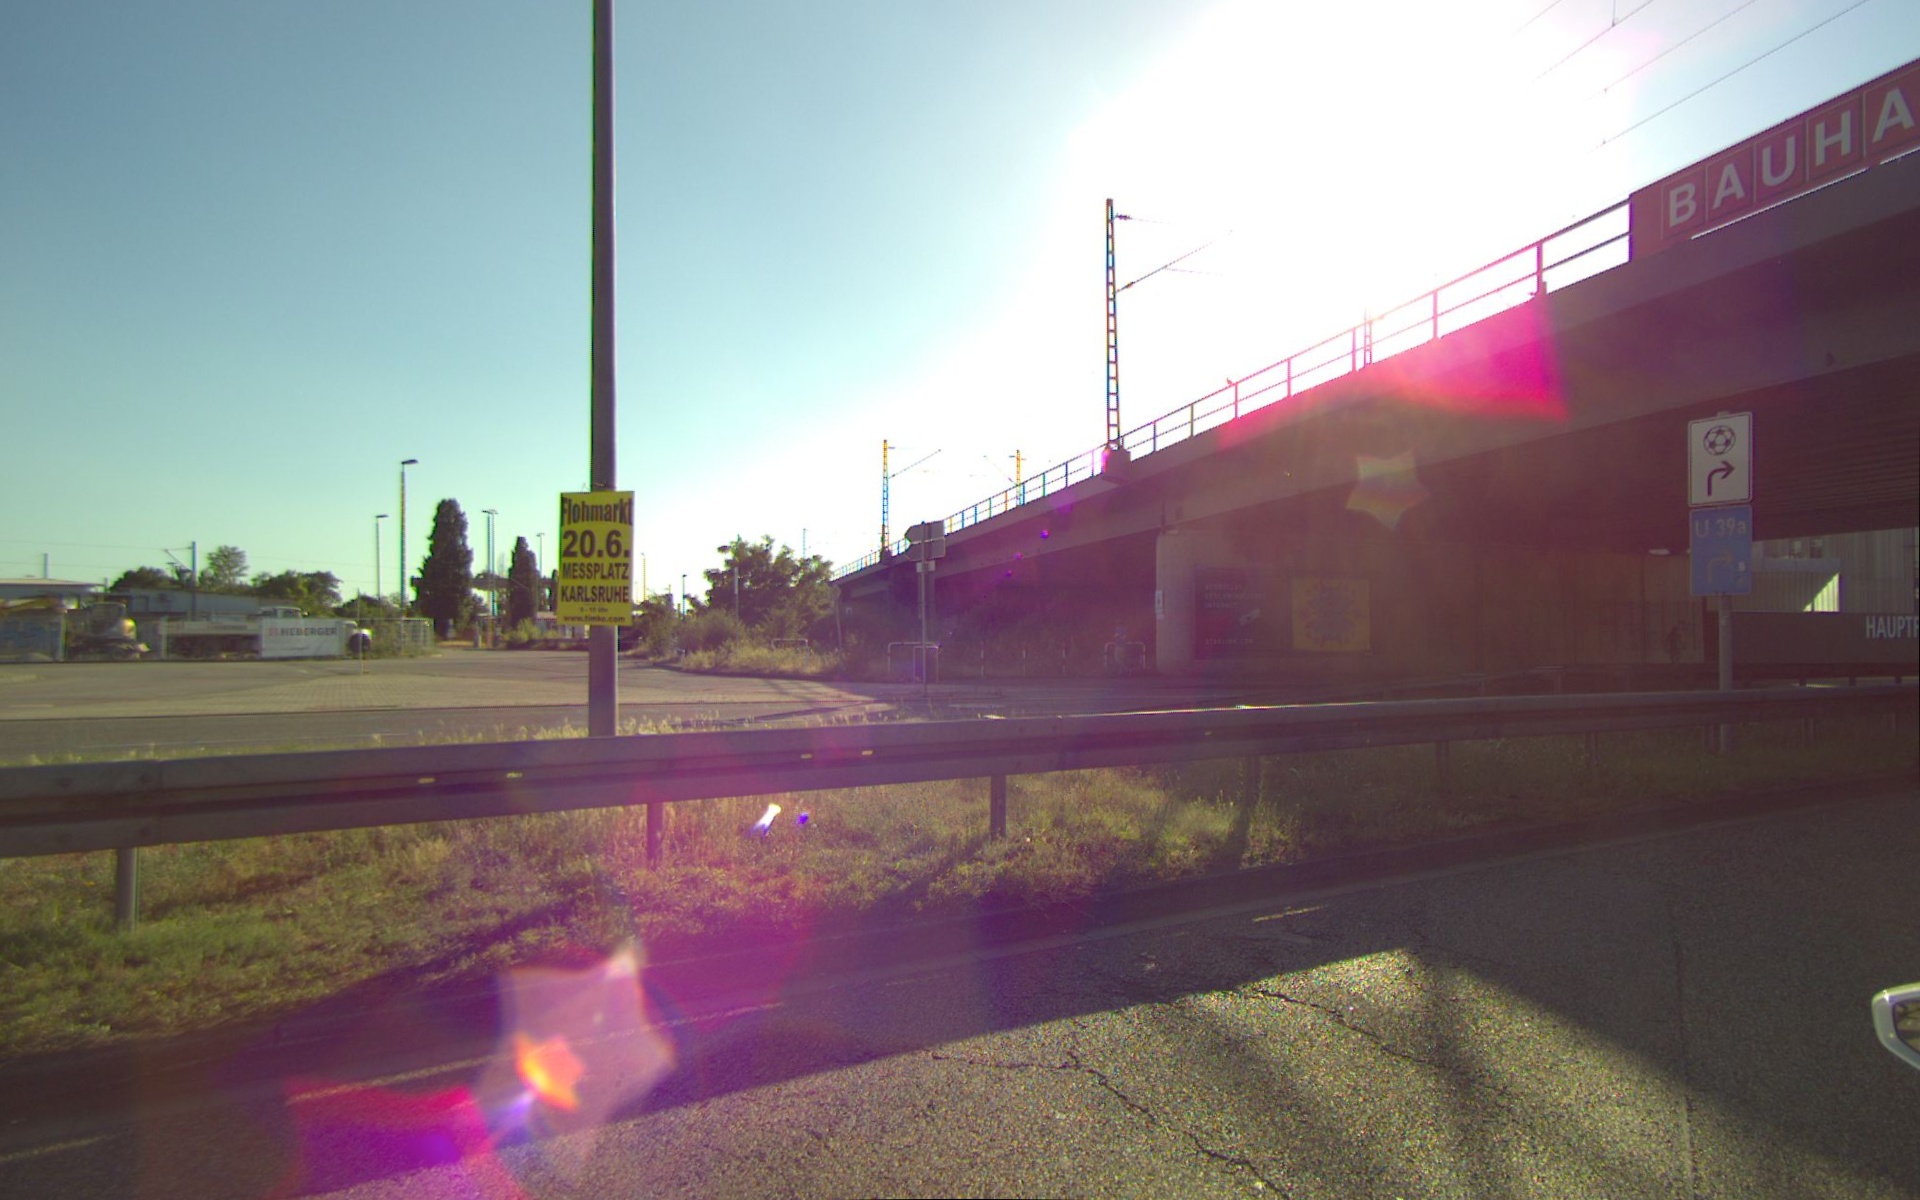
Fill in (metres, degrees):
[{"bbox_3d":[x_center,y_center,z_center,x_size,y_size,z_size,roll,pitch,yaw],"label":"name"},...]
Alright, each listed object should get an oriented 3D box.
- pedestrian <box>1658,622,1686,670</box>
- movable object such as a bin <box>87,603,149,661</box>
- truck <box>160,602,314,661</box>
[{"bbox_3d":[28.783,1.849,40.619,0.655,1.928,0.692,2,-2,-23],"label":"pedestrian"},{"bbox_3d":[-41.615,1.591,49.651,2.203,2.750,1.718,3,-2,-41],"label":"movable object such as a bin"},{"bbox_3d":[-41.406,1.843,57.769,2.394,3.186,6.772,0,-2,27],"label":"truck"}]
